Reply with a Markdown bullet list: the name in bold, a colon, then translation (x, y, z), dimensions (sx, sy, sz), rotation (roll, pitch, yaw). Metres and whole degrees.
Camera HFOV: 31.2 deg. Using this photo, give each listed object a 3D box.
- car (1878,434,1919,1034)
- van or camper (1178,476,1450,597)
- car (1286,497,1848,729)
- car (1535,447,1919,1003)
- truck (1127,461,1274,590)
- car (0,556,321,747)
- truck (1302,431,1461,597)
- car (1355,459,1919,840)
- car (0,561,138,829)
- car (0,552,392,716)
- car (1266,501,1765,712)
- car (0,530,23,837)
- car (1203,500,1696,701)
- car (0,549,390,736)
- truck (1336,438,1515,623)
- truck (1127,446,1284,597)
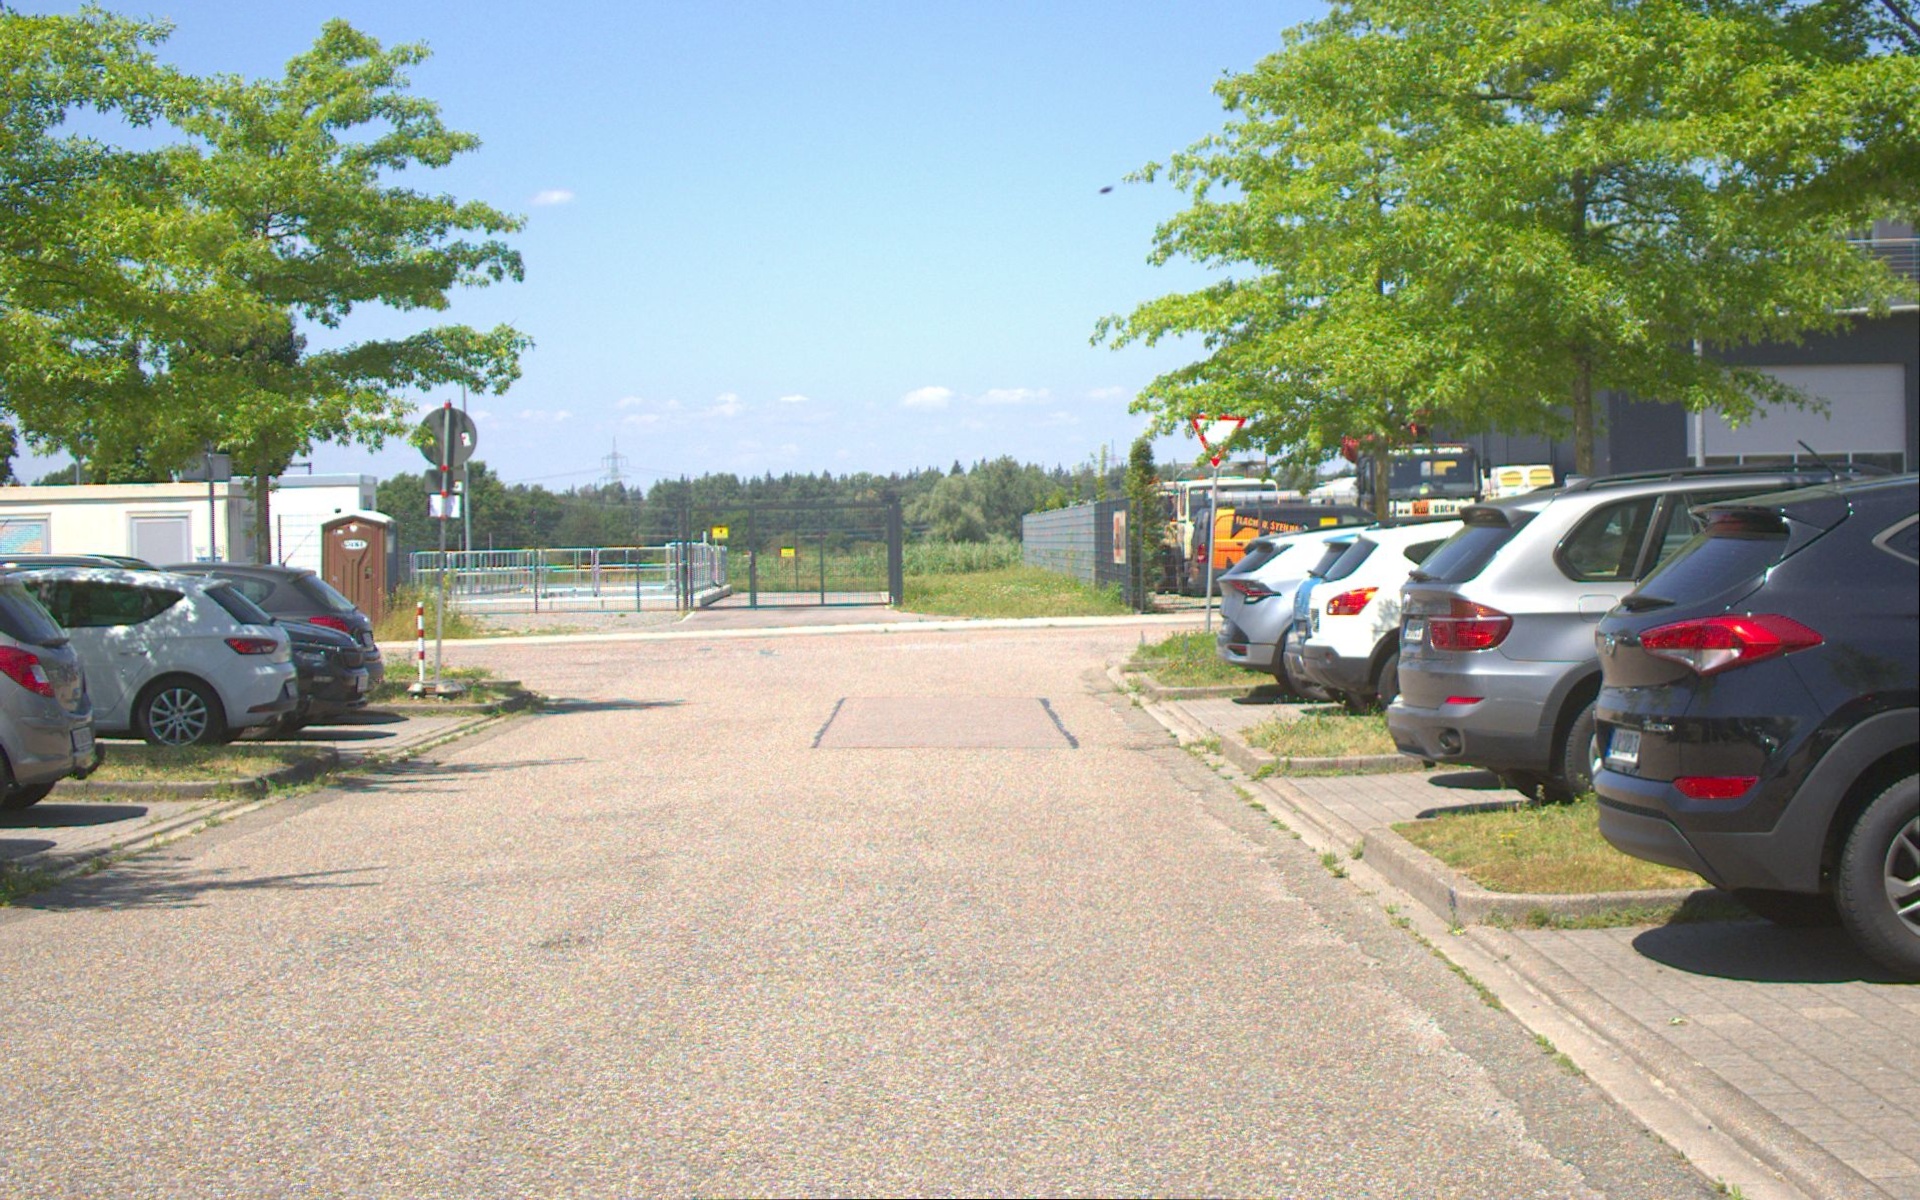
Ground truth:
- **car**: translation (4.580, 0.305, 8.889), dimensions (3.875, 1.672, 1.782), rotation (-3, 1, 0)
- **van or camper**: translation (6.717, -1.221, 65.582), dimensions (4.936, 2.156, 2.000), rotation (-1, 2, -1)
- **car**: translation (4.723, 0.096, 27.215), dimensions (4.068, 1.602, 1.901), rotation (-2, 0, 1)
- **car**: translation (4.218, 0.299, 11.599), dimensions (4.173, 1.690, 1.782), rotation (-3, 1, -1)
- **truck**: translation (5.774, -1.813, 83.653), dimensions (2.921, 2.927, 6.936), rotation (-1, 1, -1)
- **car**: translation (-7.221, 0.375, 27.134), dimensions (4.075, 1.419, 1.874), rotation (1, 1, -4)
- **truck**: translation (10.457, -2.126, 85.891), dimensions (2.921, 3.915, 6.936), rotation (-1, 1, -1)
- **car**: translation (4.455, 0.178, 17.907), dimensions (4.449, 1.762, 1.993), rotation (-3, 1, -2)
- **car**: translation (-6.849, 0.516, 20.249), dimensions (3.656, 1.503, 1.731), rotation (1, 1, -4)
- **car**: translation (-7.222, 0.295, 31.976), dimensions (3.625, 1.431, 1.726), rotation (1, 1, -3)
- **car**: translation (4.778, 0.044, 29.975), dimensions (3.987, 1.638, 1.838), rotation (-2, 1, -1)
- **car**: translation (-6.933, 0.430, 17.632), dimensions (3.737, 1.616, 1.816), rotation (1, 1, 1)
- **car**: translation (4.507, -0.010, 32.125), dimensions (4.279, 1.638, 1.851), rotation (-3, 1, 0)
- **car**: translation (-7.003, 0.340, 29.601), dimensions (3.927, 1.515, 1.785), rotation (1, 1, -3)
- **truck**: translation (10.434, -1.568, 77.731), dimensions (2.921, 3.915, 6.936), rotation (-1, 1, -1)
- **truck**: translation (5.239, -1.698, 74.510), dimensions (2.726, 3.051, 6.936), rotation (-1, 1, -1)
